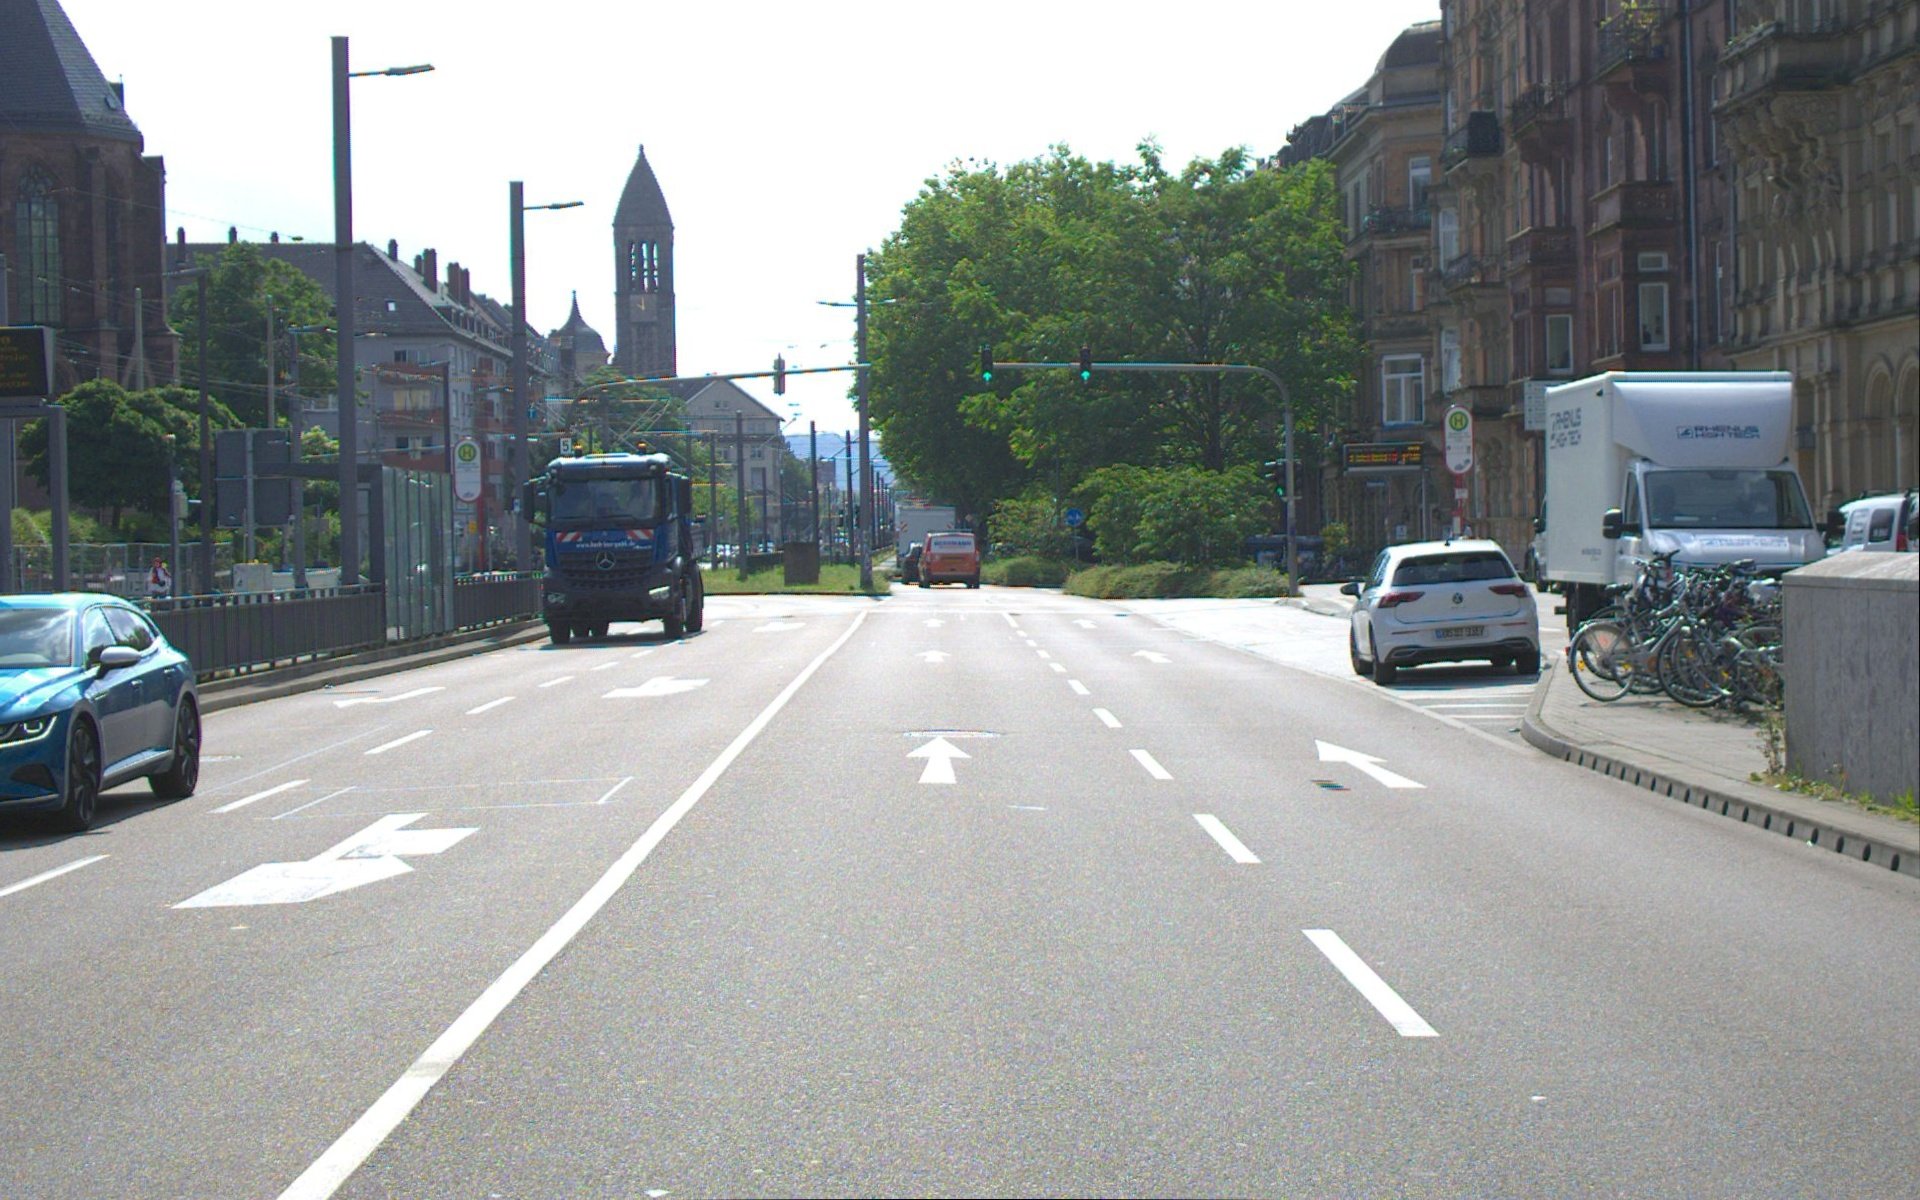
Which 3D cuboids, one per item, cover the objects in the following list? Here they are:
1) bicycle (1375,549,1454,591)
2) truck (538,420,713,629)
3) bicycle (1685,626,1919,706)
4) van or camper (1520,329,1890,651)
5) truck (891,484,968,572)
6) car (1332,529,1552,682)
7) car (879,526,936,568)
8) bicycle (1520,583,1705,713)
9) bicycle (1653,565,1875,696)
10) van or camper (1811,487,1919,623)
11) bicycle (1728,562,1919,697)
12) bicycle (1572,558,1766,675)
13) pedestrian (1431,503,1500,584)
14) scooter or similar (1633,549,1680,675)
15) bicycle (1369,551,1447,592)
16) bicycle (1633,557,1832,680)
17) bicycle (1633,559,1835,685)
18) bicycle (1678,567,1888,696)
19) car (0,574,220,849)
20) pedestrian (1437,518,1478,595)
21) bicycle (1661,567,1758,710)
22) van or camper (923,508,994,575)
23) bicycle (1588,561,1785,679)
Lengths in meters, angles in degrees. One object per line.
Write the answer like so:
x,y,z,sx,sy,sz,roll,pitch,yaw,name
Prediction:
13.289,-0.871,100.598,2.189,1.177,0.684,-1,1,-5,bicycle
-6.148,-1.408,64.255,2.463,3.636,7.450,-1,1,0,truck
6.609,0.507,26.974,0.636,0.584,1.770,-2,1,-40,bicycle
8.452,-1.205,39.953,2.712,3.319,7.639,-1,1,1,van or camper
-1.347,-3.037,147.760,3.169,3.275,7.296,0,-3,-2,truck
5.197,0.047,37.580,1.791,1.432,4.343,-5,0,1,car
-1.964,-1.984,127.655,1.993,1.503,4.001,-1,1,-2,car
5.665,0.410,29.831,1.596,1.081,0.372,-1,2,-19,bicycle
6.717,0.250,28.753,1.758,1.081,0.372,0,2,2,bicycle
14.326,-0.730,50.896,1.993,1.898,5.298,-3,1,-1,van or camper
7.199,0.239,28.086,1.758,1.081,0.372,0,2,2,bicycle
6.713,0.156,32.571,1.758,1.081,0.372,0,2,-6,bicycle
8.296,-0.923,56.404,0.742,1.311,0.821,1,0,-39,pedestrian
6.851,0.103,33.843,0.369,1.209,1.251,1,1,9,scooter or similar
13.204,-0.836,101.335,2.189,1.177,0.684,-1,1,-5,bicycle
6.992,0.160,31.134,1.758,1.081,0.372,-1,2,-12,bicycle
6.898,0.190,30.634,1.758,1.081,0.372,-1,2,-12,bicycle
7.131,0.265,29.795,1.758,1.081,0.372,0,2,-9,bicycle
-6.112,0.645,21.615,1.850,1.450,4.555,-2,2,0,car
13.021,-1.139,90.047,0.886,2.007,0.996,1,0,0,pedestrian
6.016,0.294,27.648,0.371,1.067,1.764,0,2,-1,bicycle
-0.071,-1.956,115.380,2.008,1.908,4.523,1,-3,-4,van or camper
6.789,0.184,32.140,1.758,1.081,0.372,0,2,-6,bicycle
